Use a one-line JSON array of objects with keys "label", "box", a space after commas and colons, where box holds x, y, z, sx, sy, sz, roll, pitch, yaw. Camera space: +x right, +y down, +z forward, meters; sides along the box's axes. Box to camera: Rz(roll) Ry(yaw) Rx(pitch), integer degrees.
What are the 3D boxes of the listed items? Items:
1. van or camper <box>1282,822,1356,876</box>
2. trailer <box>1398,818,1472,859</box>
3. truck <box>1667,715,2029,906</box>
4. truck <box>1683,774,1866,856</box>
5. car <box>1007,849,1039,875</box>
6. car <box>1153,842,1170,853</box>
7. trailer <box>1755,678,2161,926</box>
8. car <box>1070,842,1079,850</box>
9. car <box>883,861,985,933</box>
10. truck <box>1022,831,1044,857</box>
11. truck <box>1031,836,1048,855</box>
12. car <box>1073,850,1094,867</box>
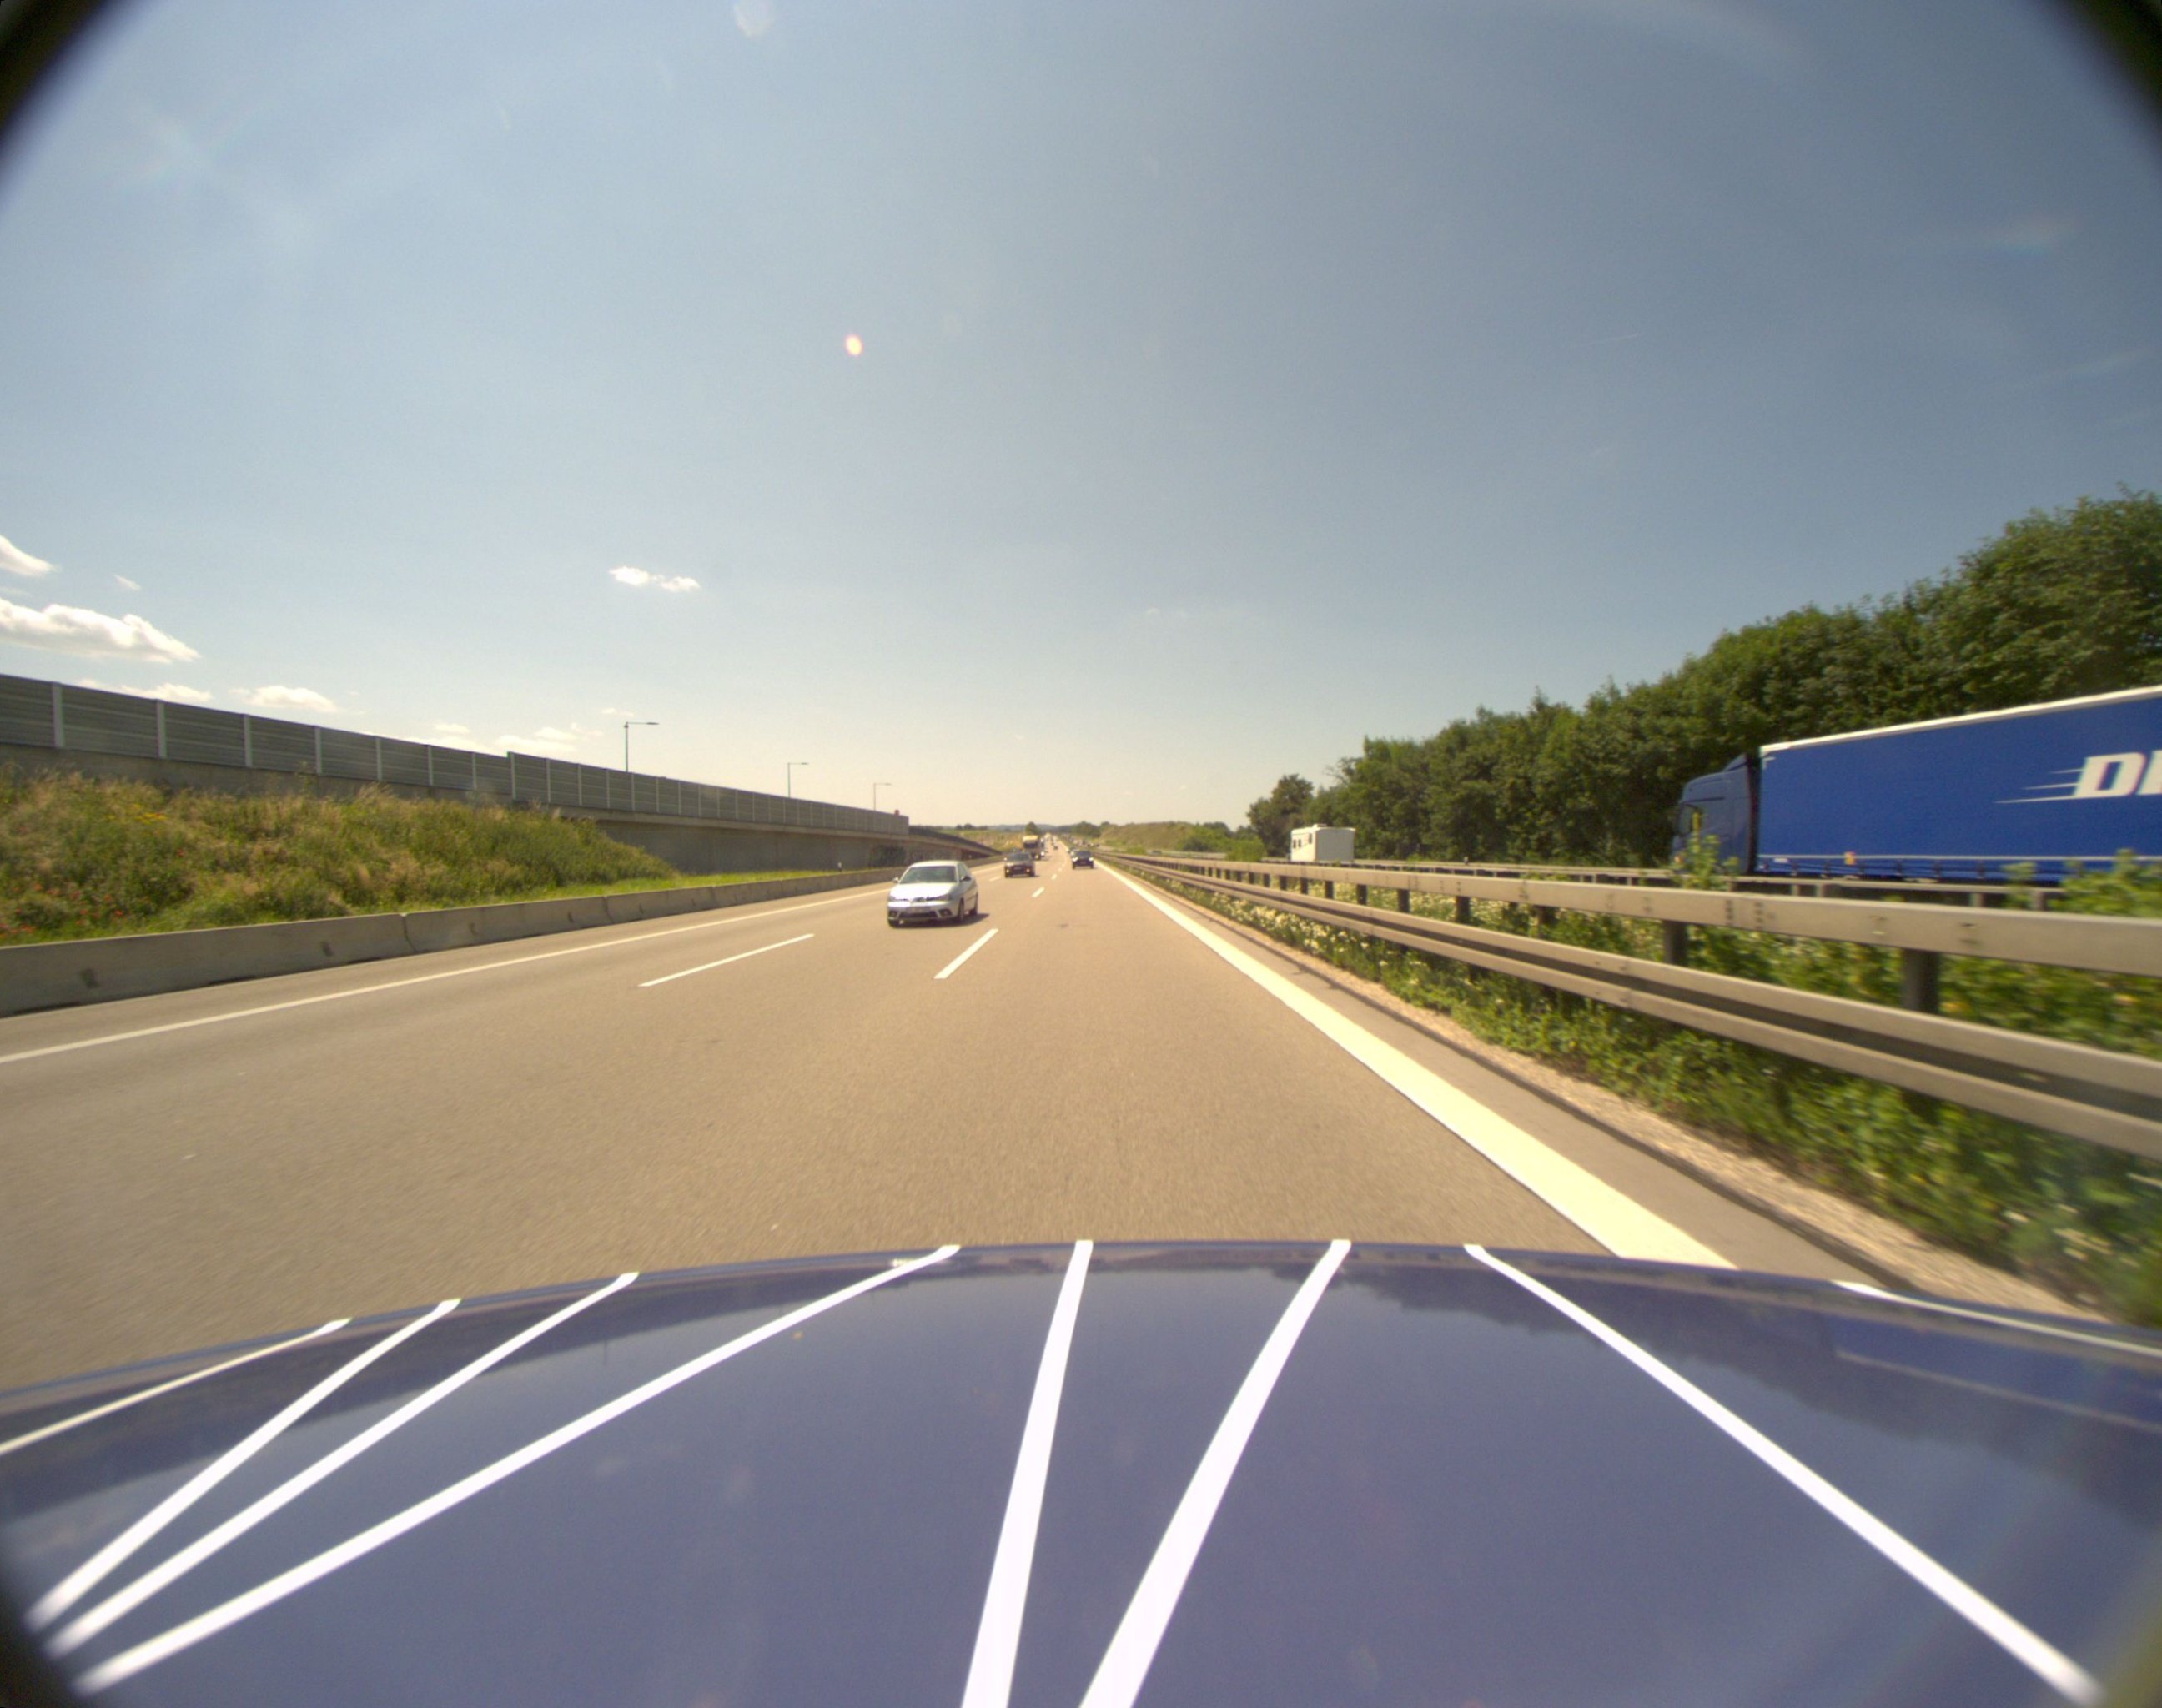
[{"label": "van or camper", "box": [13.963, -0.301, 45.059, 2.276, 2.952, 6.952, 1, 1, 1]}, {"label": "trailer", "box": [34.393, -1.504, 74.414, 1.998, 3.580, 11.104, -2, 1, 0]}, {"label": "truck", "box": [17.649, -0.917, 18.143, 2.855, 3.723, 5.692, -2, 1, 0]}, {"label": "truck", "box": [34.678, -1.833, 38.488, 1.998, 3.627, 7.901, -2, 1, 0]}, {"label": "car", "box": [-3.791, 0.493, 50.047, 1.751, 1.559, 3.999, -2, 1, 0]}, {"label": "car", "box": [10.353, -0.797, 98.123, 1.804, 1.302, 3.999, -2, 1, 0]}, {"label": "trailer", "box": [17.609, -0.829, 10.991, 2.849, 3.713, 14.527, -2, 1, 0]}, {"label": "car", "box": [-1.611, -2.062, 196.405, 1.998, 2.002, 4.000, -2, 1, 1]}, {"label": "car", "box": [-3.407, 0.939, 18.352, 1.634, 1.381, 3.999, -2, 1, 0]}, {"label": "truck", "box": [-7.948, -1.670, 128.197, 3.368, 4.037, 11.732, -2, 1, -3]}, {"label": "truck", "box": [-8.983, -1.785, 164.643, 3.368, 3.976, 11.733, -1, 0, -3]}, {"label": "car", "box": [0.188, 0.370, 66.355, 1.751, 1.439, 3.999, -1, 1, 0]}]
